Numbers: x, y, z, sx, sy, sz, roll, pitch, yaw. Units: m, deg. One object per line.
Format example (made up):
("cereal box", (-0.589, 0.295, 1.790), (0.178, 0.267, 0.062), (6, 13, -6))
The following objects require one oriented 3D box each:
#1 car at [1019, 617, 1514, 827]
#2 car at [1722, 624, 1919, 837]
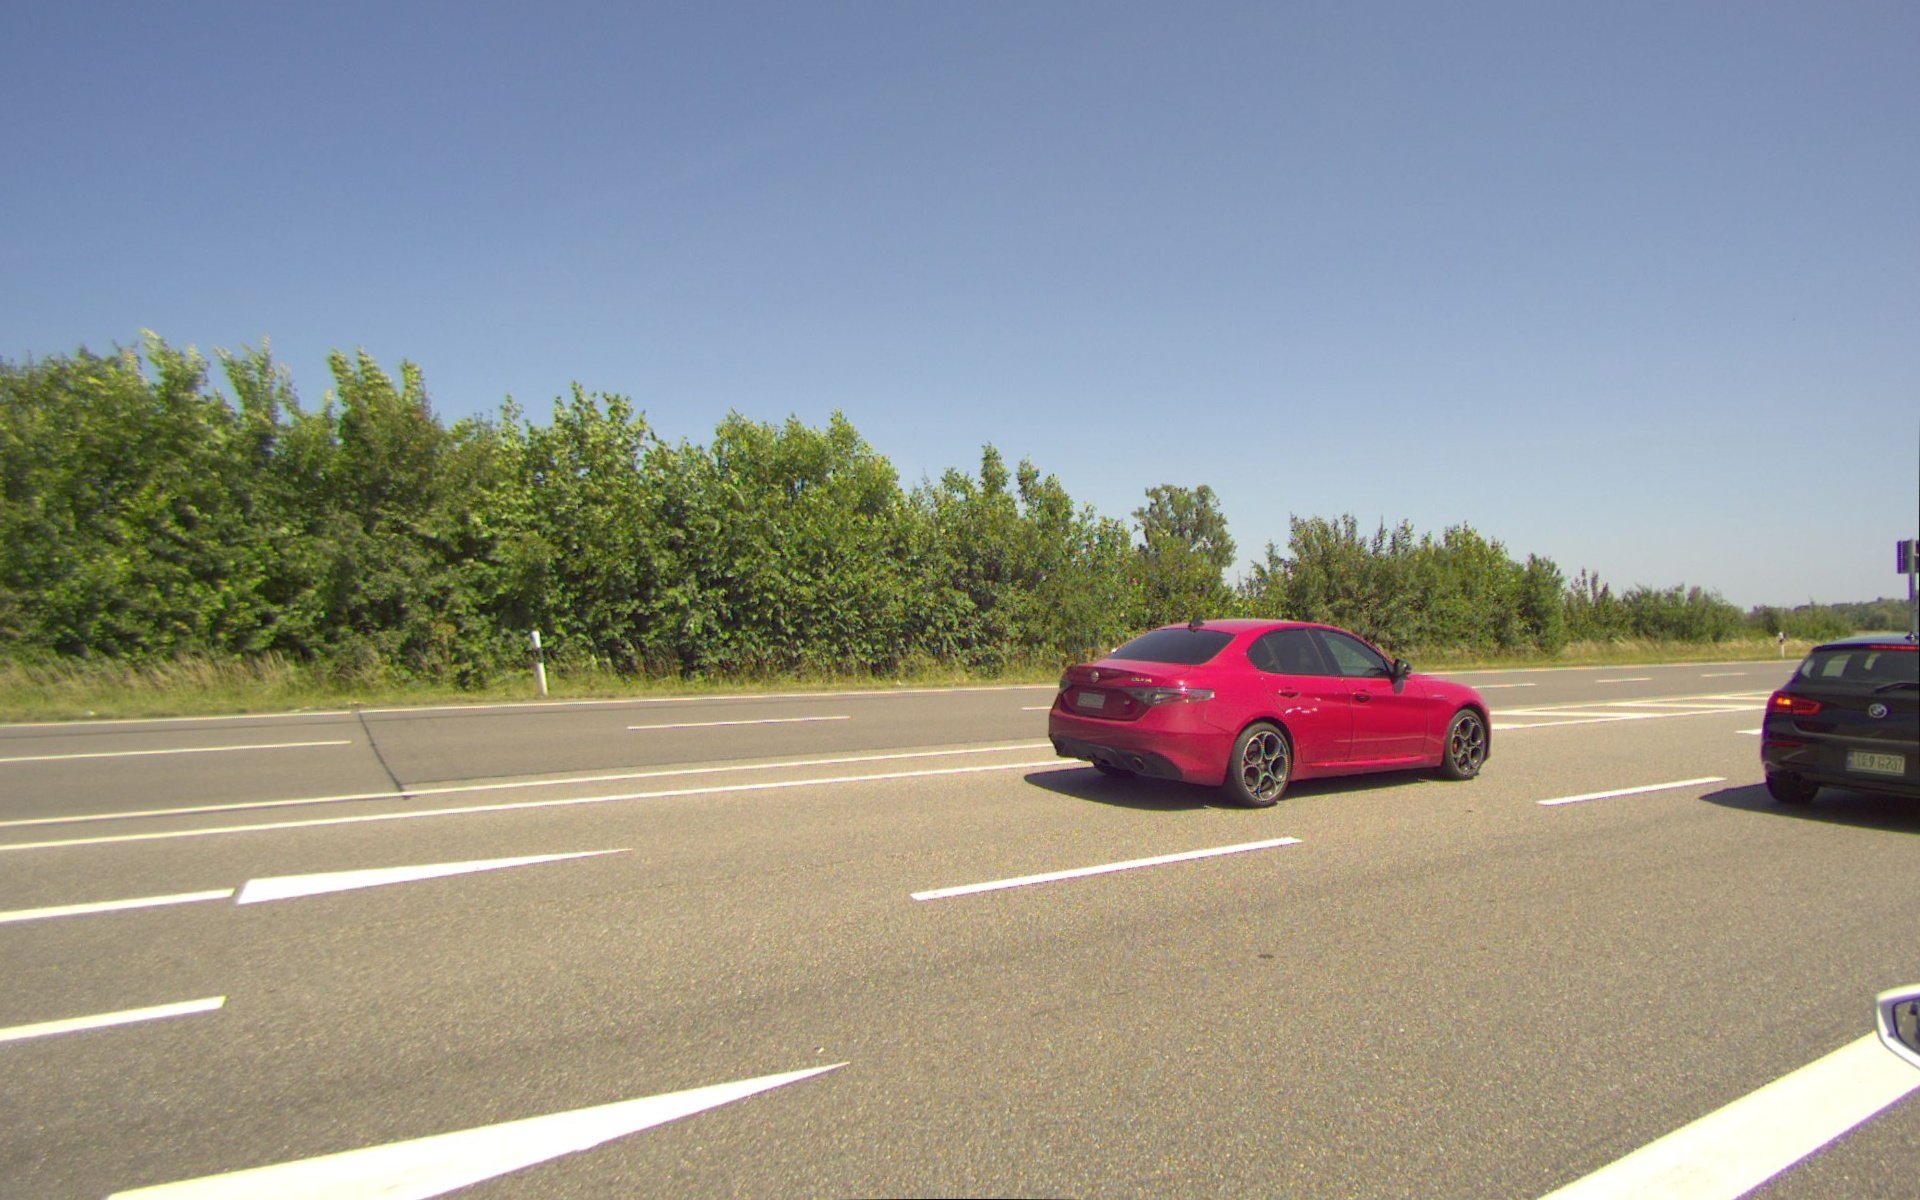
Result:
("car", (2.872, 0.905, 9.049), (4.515, 1.440, 1.740), (1, 0, -32))
("car", (8.406, 0.956, 8.391), (4.330, 1.450, 1.775), (1, 0, -31))
